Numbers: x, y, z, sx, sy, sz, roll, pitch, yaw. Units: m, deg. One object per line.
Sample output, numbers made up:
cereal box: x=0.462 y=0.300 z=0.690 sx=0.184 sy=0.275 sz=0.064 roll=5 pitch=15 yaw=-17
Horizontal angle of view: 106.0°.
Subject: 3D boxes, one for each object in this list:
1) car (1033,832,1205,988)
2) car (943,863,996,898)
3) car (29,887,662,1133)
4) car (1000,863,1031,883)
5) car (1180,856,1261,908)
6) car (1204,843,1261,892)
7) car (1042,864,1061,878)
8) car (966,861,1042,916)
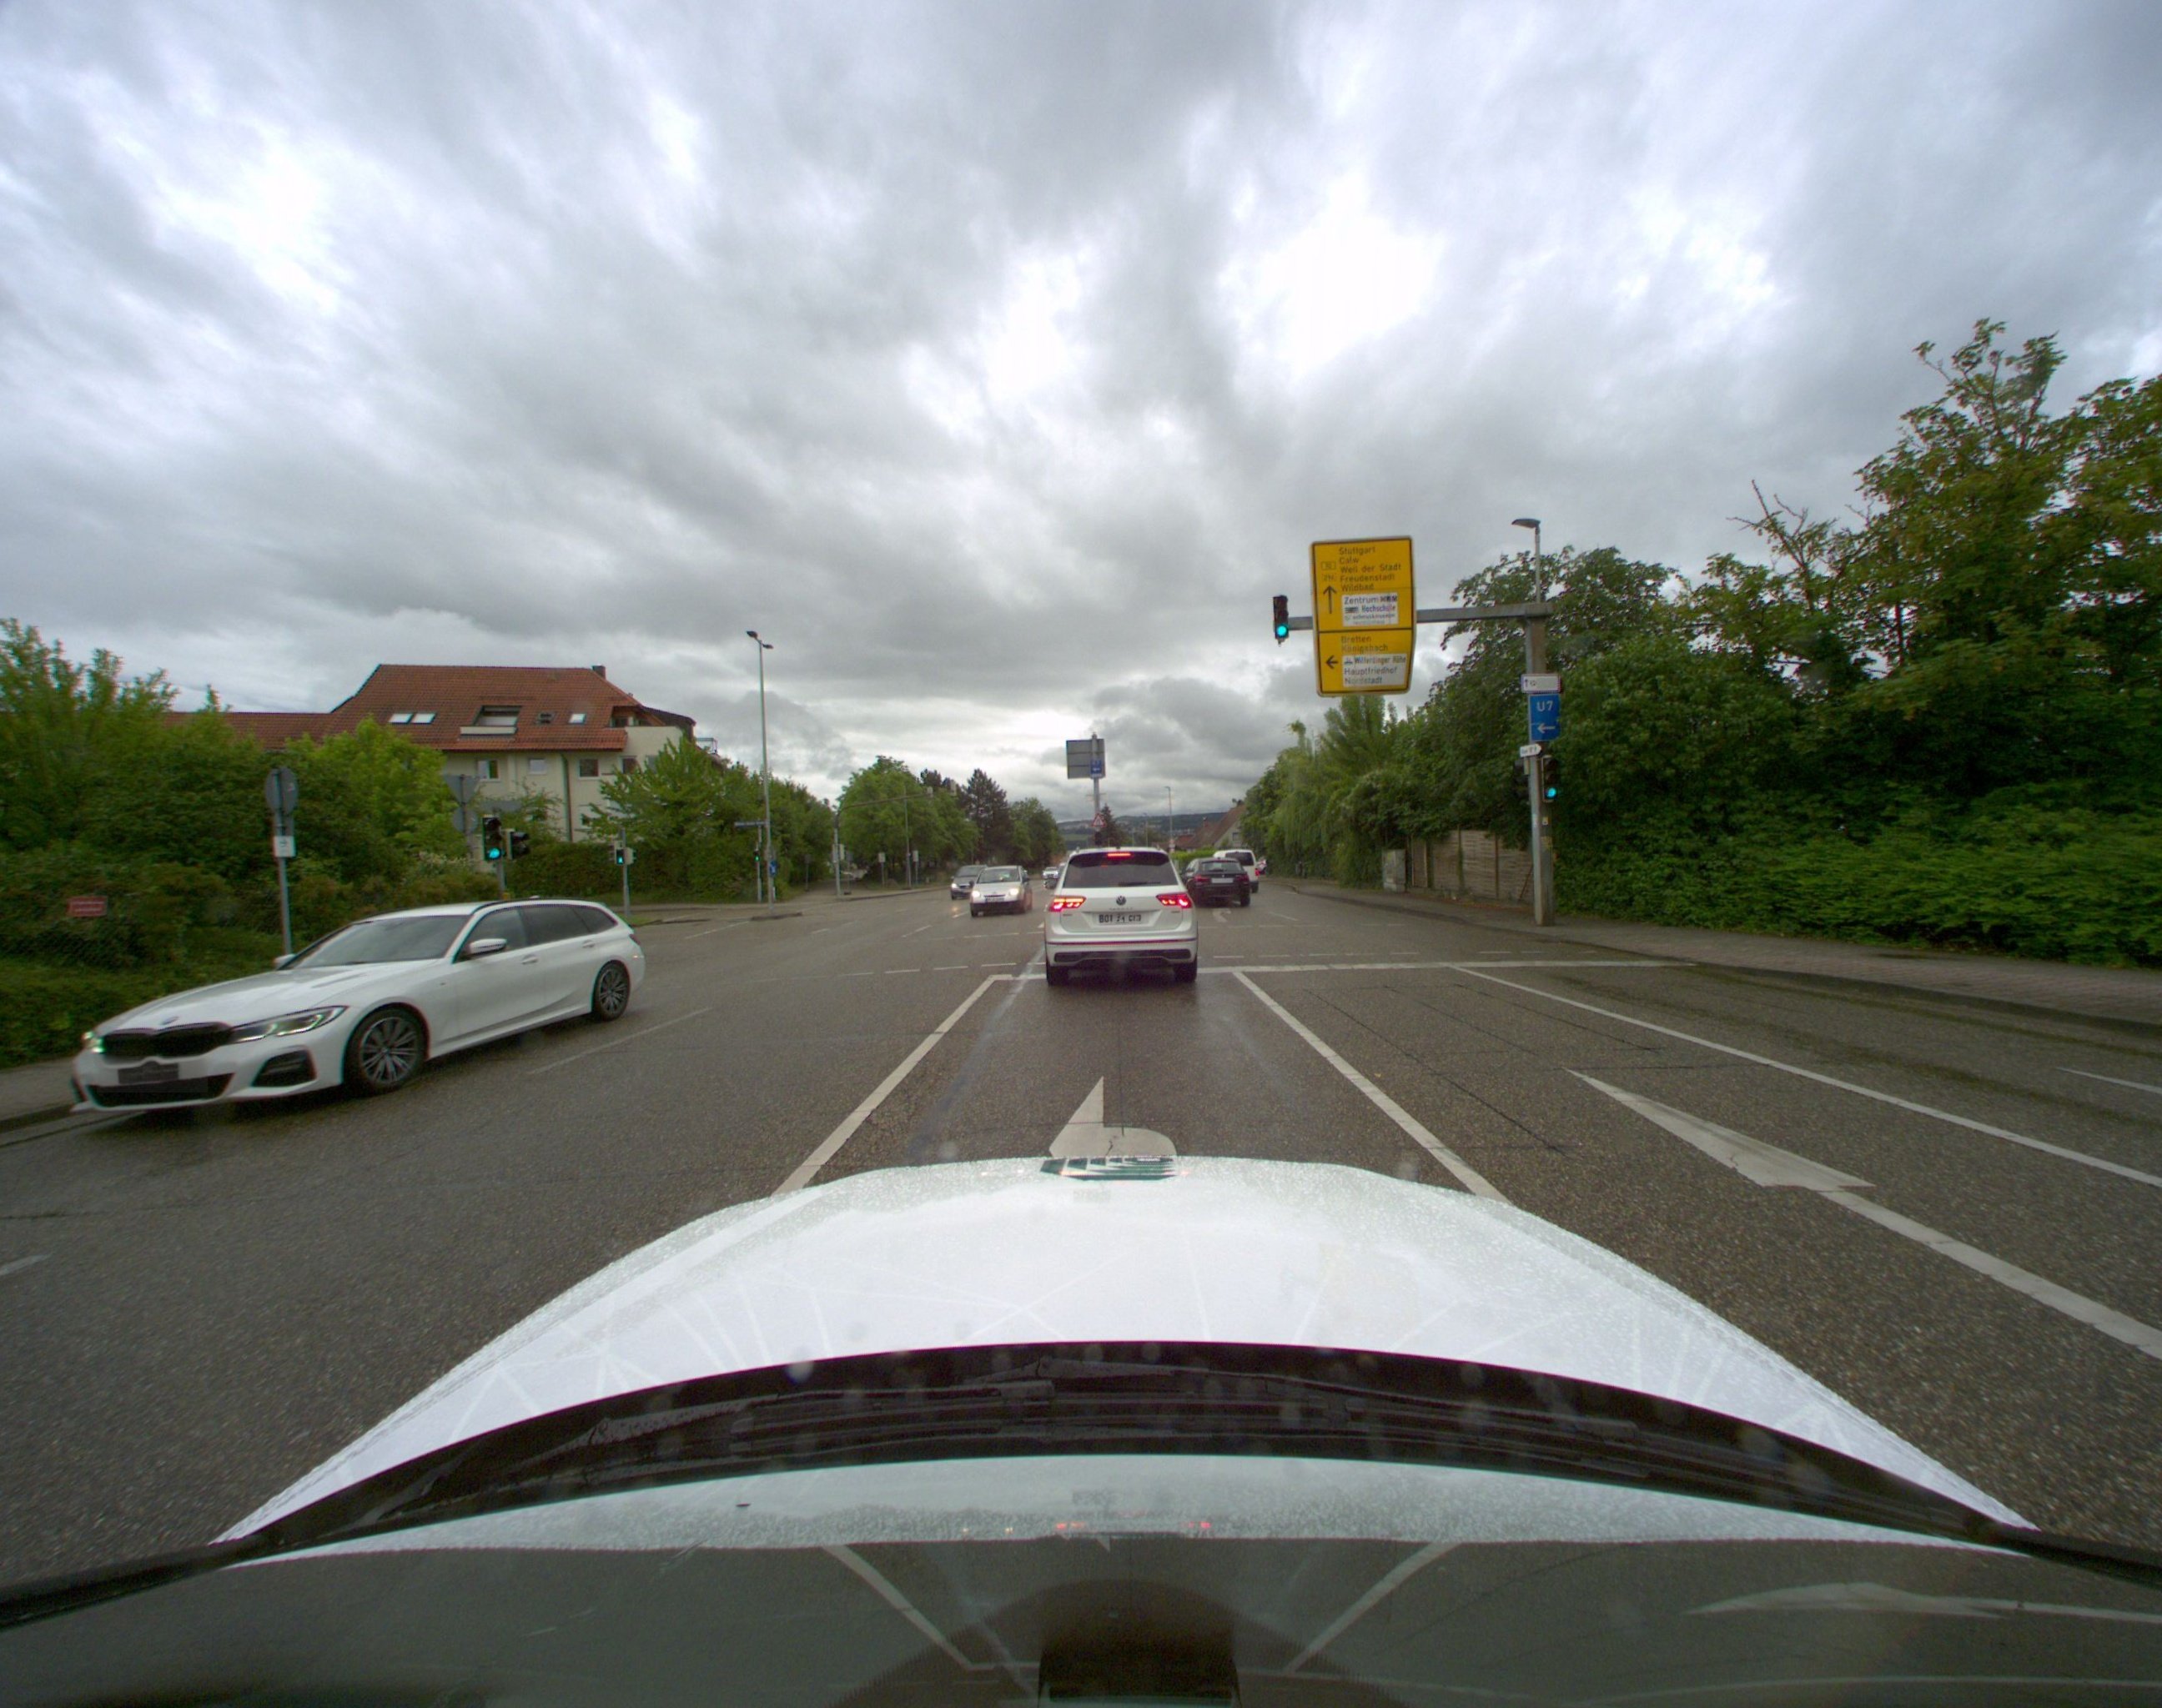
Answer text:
car: x=0.472 y=0.651 z=10.961 sx=1.862 sy=1.674 sz=4.001 roll=-1 pitch=-1 yaw=1
car: x=-5.416 y=1.254 z=40.081 sx=1.768 sy=1.458 sz=4.551 roll=-3 pitch=0 yaw=2
car: x=-6.134 y=1.144 z=7.765 sx=1.768 sy=1.385 sz=4.550 roll=-3 pitch=0 yaw=1
car: x=-4.681 y=1.370 z=58.740 sx=1.643 sy=1.273 sz=3.624 roll=-2 pitch=0 yaw=3
car: x=4.248 y=0.832 z=25.371 sx=1.892 sy=1.441 sz=4.001 roll=-2 pitch=-1 yaw=1
car: x=6.474 y=0.530 z=35.100 sx=1.759 sy=1.877 sz=3.806 roll=-1 pitch=2 yaw=1
car: x=-3.390 y=1.964 z=94.171 sx=1.768 sy=1.458 sz=4.188 roll=-3 pitch=0 yaw=2
car: x=-2.345 y=1.008 z=25.812 sx=1.768 sy=1.458 sz=4.551 roll=-3 pitch=0 yaw=2
